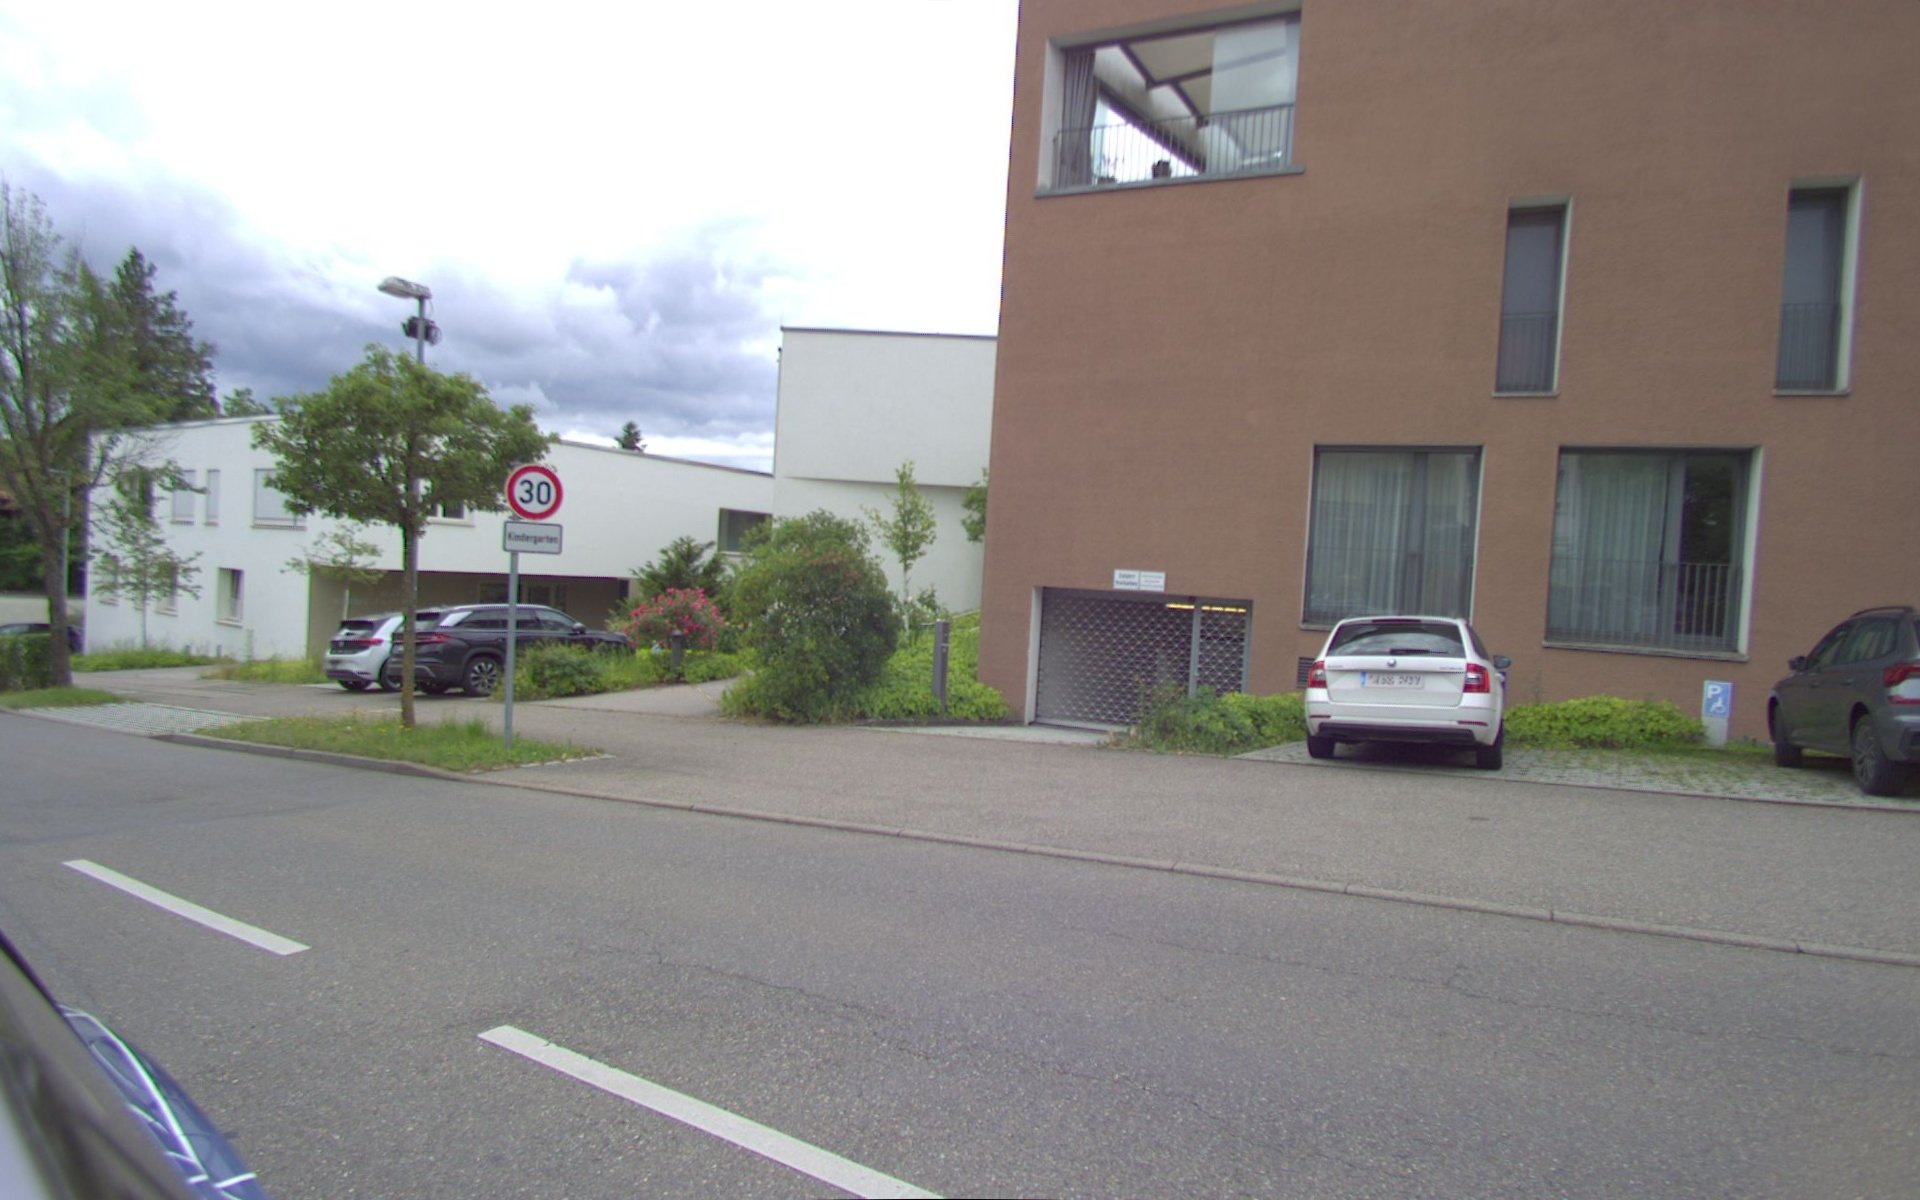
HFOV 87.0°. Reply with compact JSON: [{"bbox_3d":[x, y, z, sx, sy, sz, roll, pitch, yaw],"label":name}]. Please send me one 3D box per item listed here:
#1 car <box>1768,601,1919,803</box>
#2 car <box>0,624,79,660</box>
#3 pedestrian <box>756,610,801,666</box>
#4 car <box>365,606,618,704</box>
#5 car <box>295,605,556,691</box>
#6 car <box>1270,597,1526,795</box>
[{"bbox_3d":[8.534,0.795,8.692,1.723,1.475,3.737,-2,-3,27],"label":"car"},{"bbox_3d":[-36.920,1.624,39.336,1.739,1.364,3.759,-1,-2,37],"label":"car"},{"bbox_3d":[-4.318,0.902,24.098,0.897,1.293,0.602,-1,0,33],"label":"pedestrian"},{"bbox_3d":[-8.808,0.954,19.306,2.003,1.666,3.954,-1,-1,34],"label":"car"},{"bbox_3d":[-10.922,0.961,21.011,2.059,1.578,4.353,-1,-2,32],"label":"car"},{"bbox_3d":[4.841,0.877,10.801,2.006,1.635,4.229,1,-2,30],"label":"car"}]
